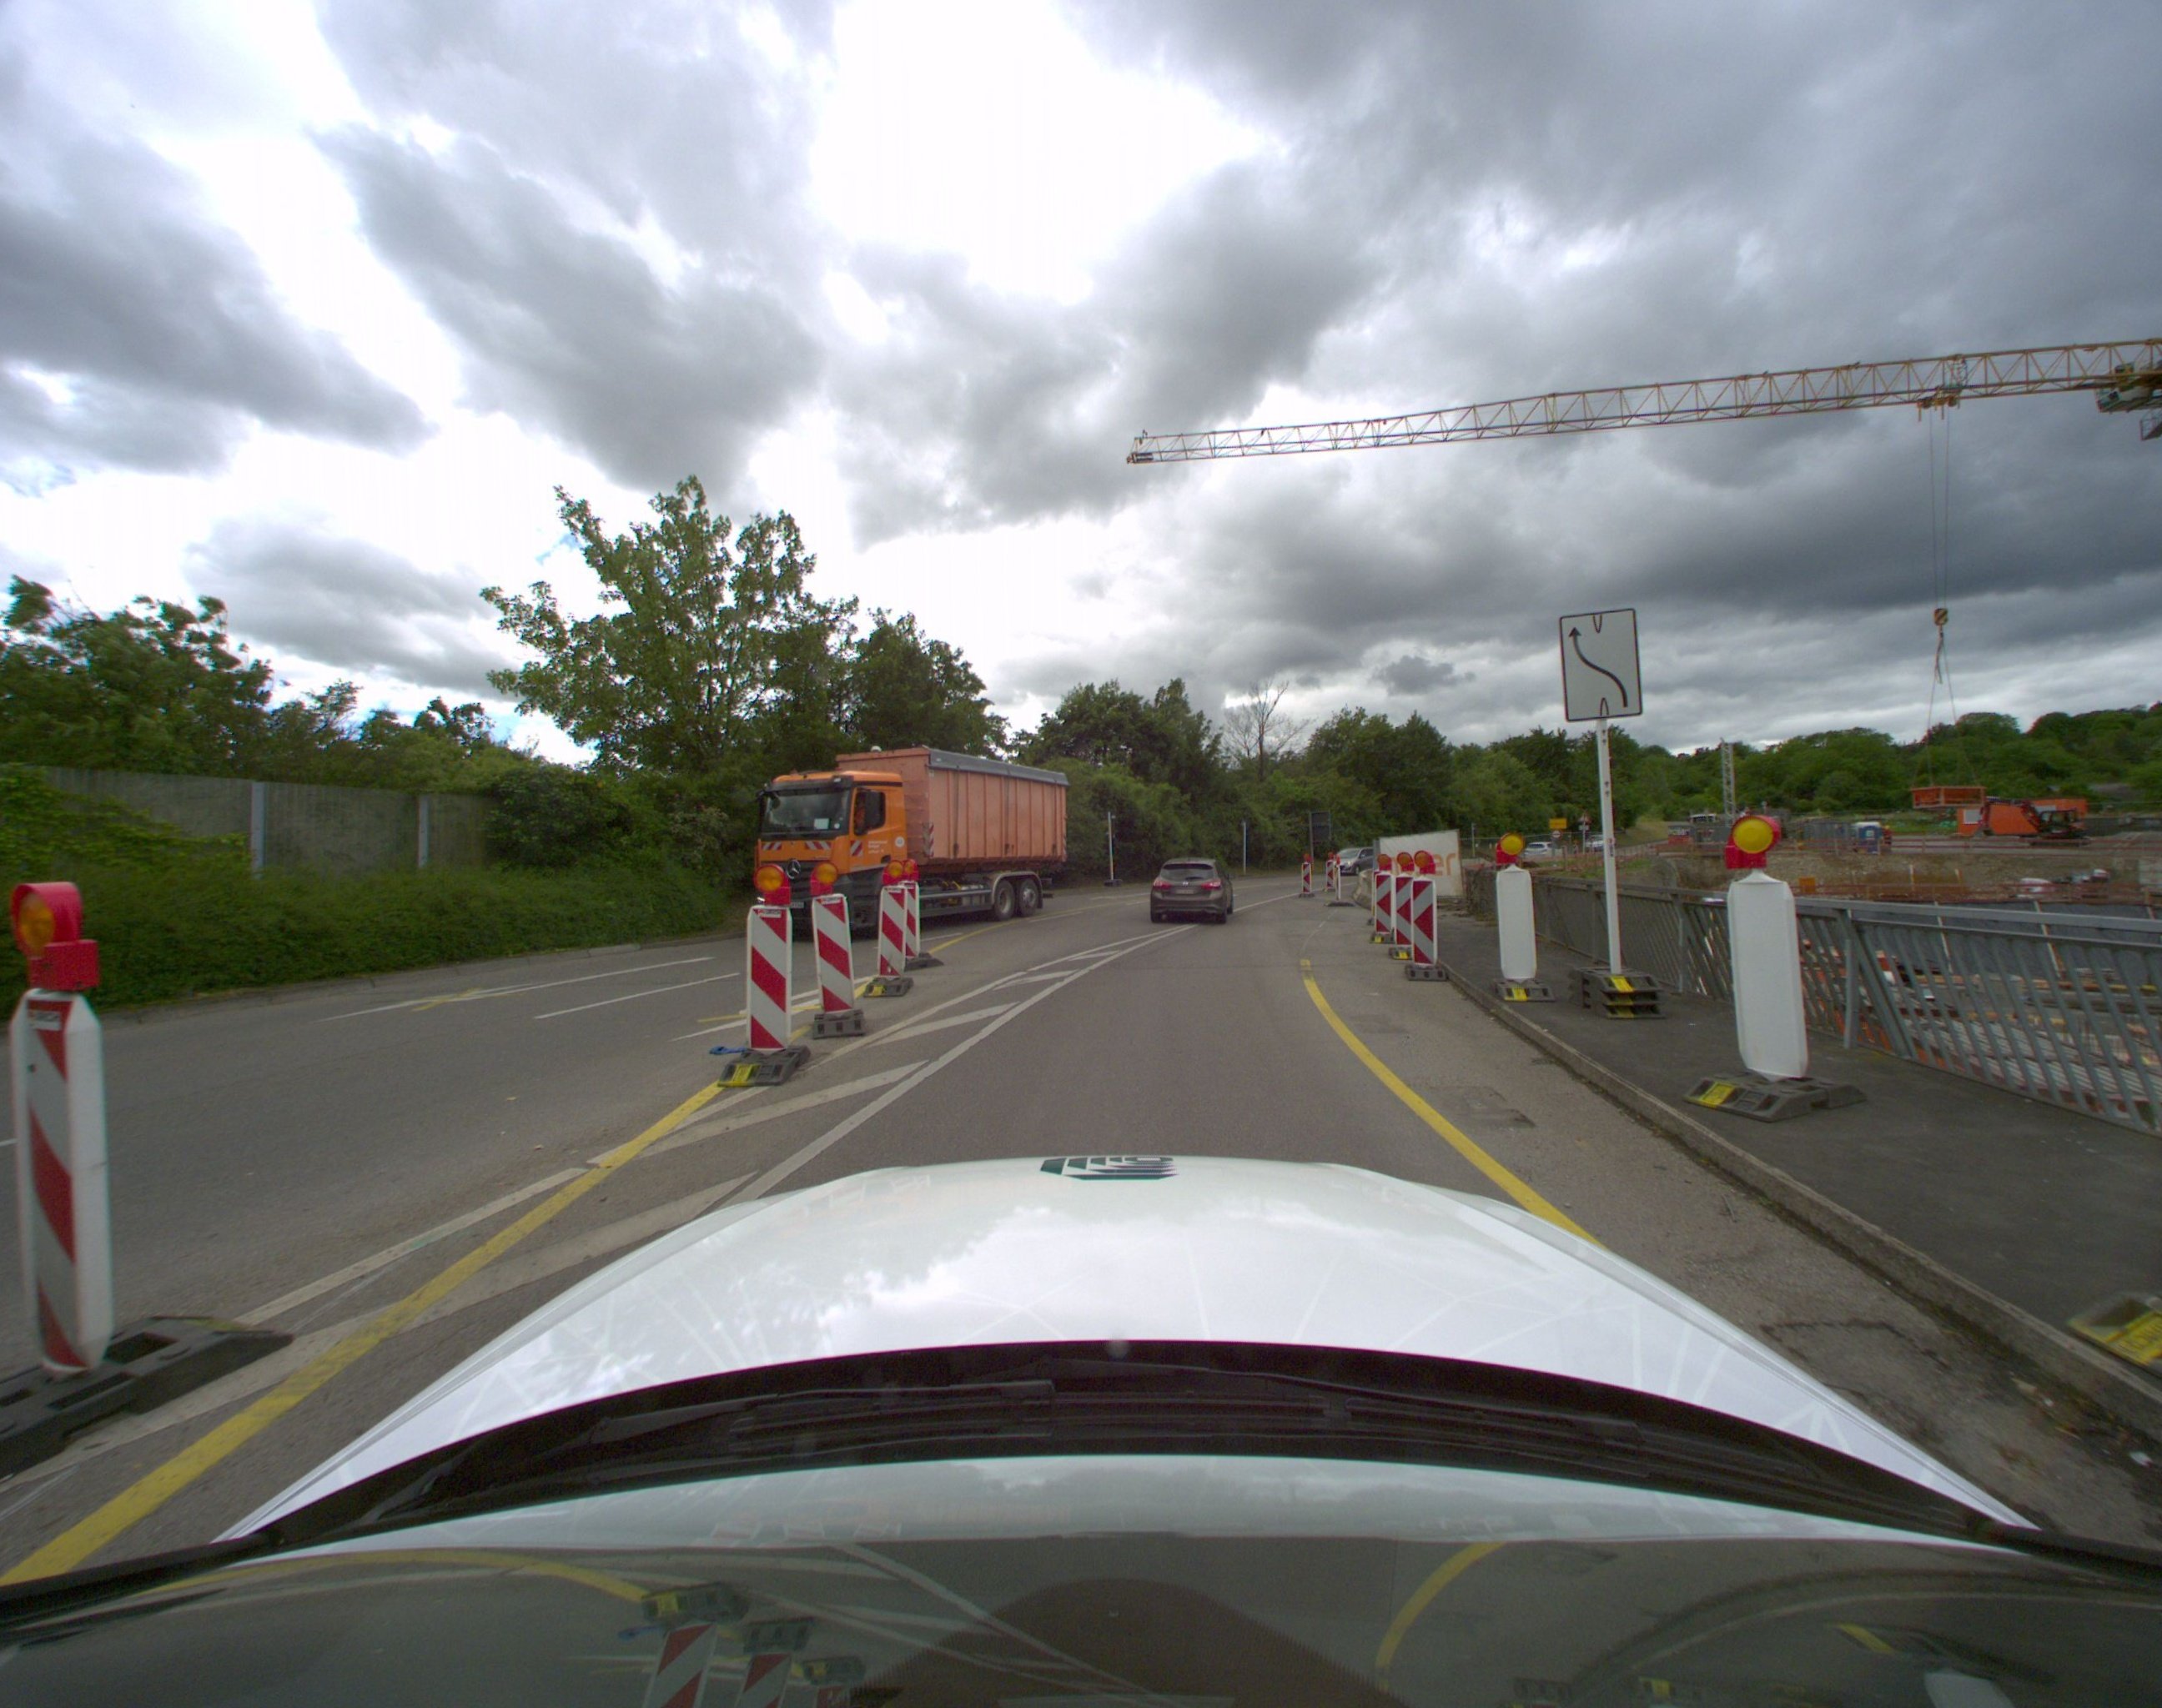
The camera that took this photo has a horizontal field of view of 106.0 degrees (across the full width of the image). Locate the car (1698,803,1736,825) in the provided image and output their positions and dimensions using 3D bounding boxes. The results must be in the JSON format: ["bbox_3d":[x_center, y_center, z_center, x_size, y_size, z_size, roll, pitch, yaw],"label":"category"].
[{"bbox_3d":[62.120,-3.867,79.554,4.019,2.014,1.977,-1,-2,-38],"label":"car"}]

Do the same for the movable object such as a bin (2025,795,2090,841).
[{"bbox_3d":[69.270,-2.524,57.809,1.851,3.077,2.767,-1,-2,-41],"label":"movable object such as a bin"}]

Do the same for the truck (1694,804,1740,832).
[{"bbox_3d":[82.136,-4.721,105.105,8.424,3.336,2.796,-3,0,-40],"label":"truck"}]

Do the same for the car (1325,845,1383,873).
[{"bbox_3d":[15.752,0.277,46.836,1.617,1.545,4.378,-1,0,41],"label":"car"}]

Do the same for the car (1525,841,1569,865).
[{"bbox_3d":[33.726,-0.080,58.955,4.023,1.675,1.696,-1,-2,-45],"label":"car"}]

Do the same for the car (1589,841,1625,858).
[{"bbox_3d":[49.522,-0.428,76.628,4.207,1.552,1.643,-1,1,-38],"label":"car"}]

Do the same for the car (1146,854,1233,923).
[{"bbox_3d":[2.826,0.773,20.428,1.785,1.552,4.014,0,0,13],"label":"car"}]

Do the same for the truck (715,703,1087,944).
[{"bbox_3d":[-3.423,-0.552,19.365,3.082,4.220,9.851,-1,0,26],"label":"truck"}]
